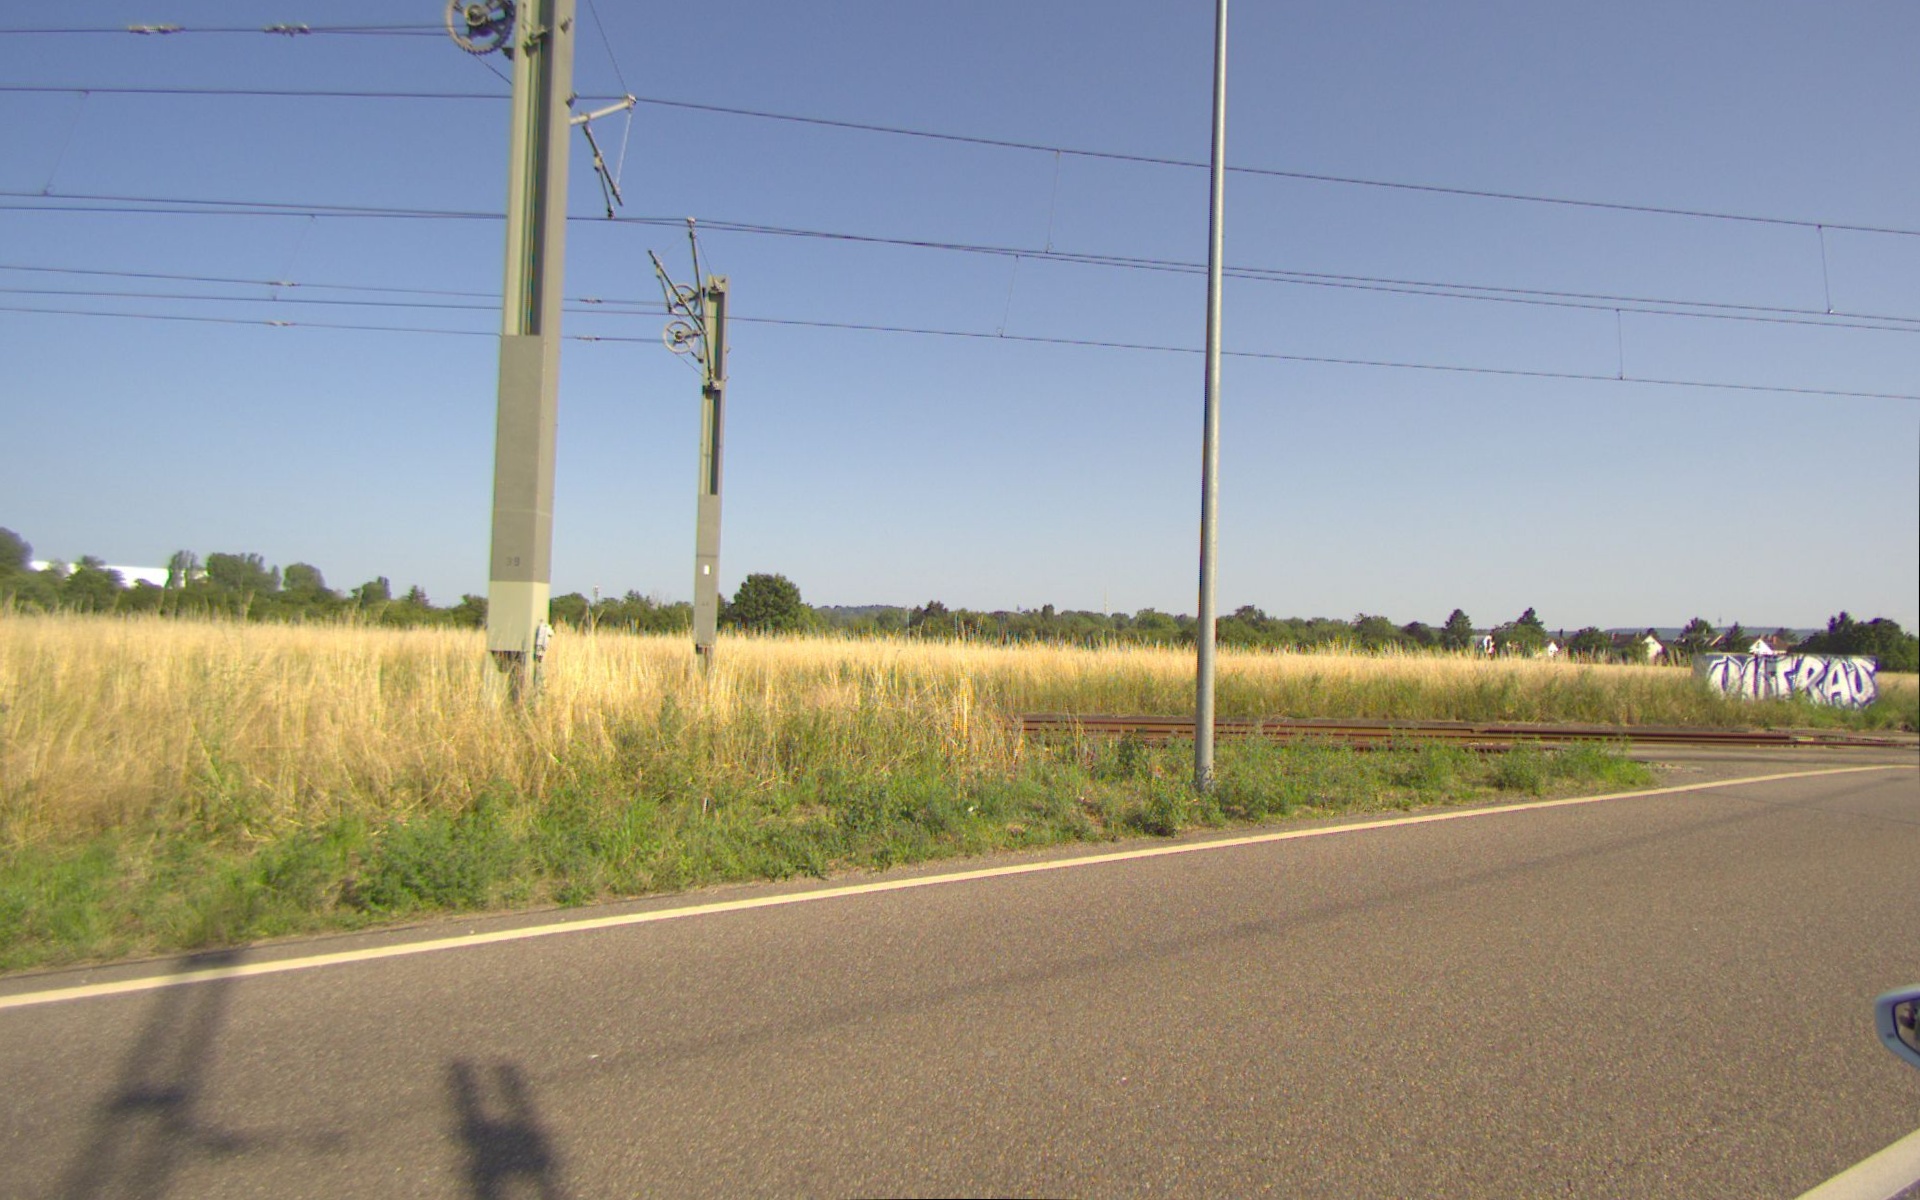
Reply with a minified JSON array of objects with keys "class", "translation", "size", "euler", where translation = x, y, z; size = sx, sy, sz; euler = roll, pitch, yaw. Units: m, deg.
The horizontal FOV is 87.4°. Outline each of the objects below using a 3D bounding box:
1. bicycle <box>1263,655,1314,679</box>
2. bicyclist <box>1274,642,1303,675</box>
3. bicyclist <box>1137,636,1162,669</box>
[{"class":"bicycle","translation":[12.580,2.557,38.484],"size":[1.704,0.850,0.751],"euler":[2,-2,-8]},{"class":"bicyclist","translation":[12.593,2.226,38.493],"size":[0.775,1.221,0.747],"euler":[2,-2,-8]},{"class":"bicyclist","translation":[7.308,2.007,38.660],"size":[0.775,1.221,0.603],"euler":[2,-2,-8]}]
